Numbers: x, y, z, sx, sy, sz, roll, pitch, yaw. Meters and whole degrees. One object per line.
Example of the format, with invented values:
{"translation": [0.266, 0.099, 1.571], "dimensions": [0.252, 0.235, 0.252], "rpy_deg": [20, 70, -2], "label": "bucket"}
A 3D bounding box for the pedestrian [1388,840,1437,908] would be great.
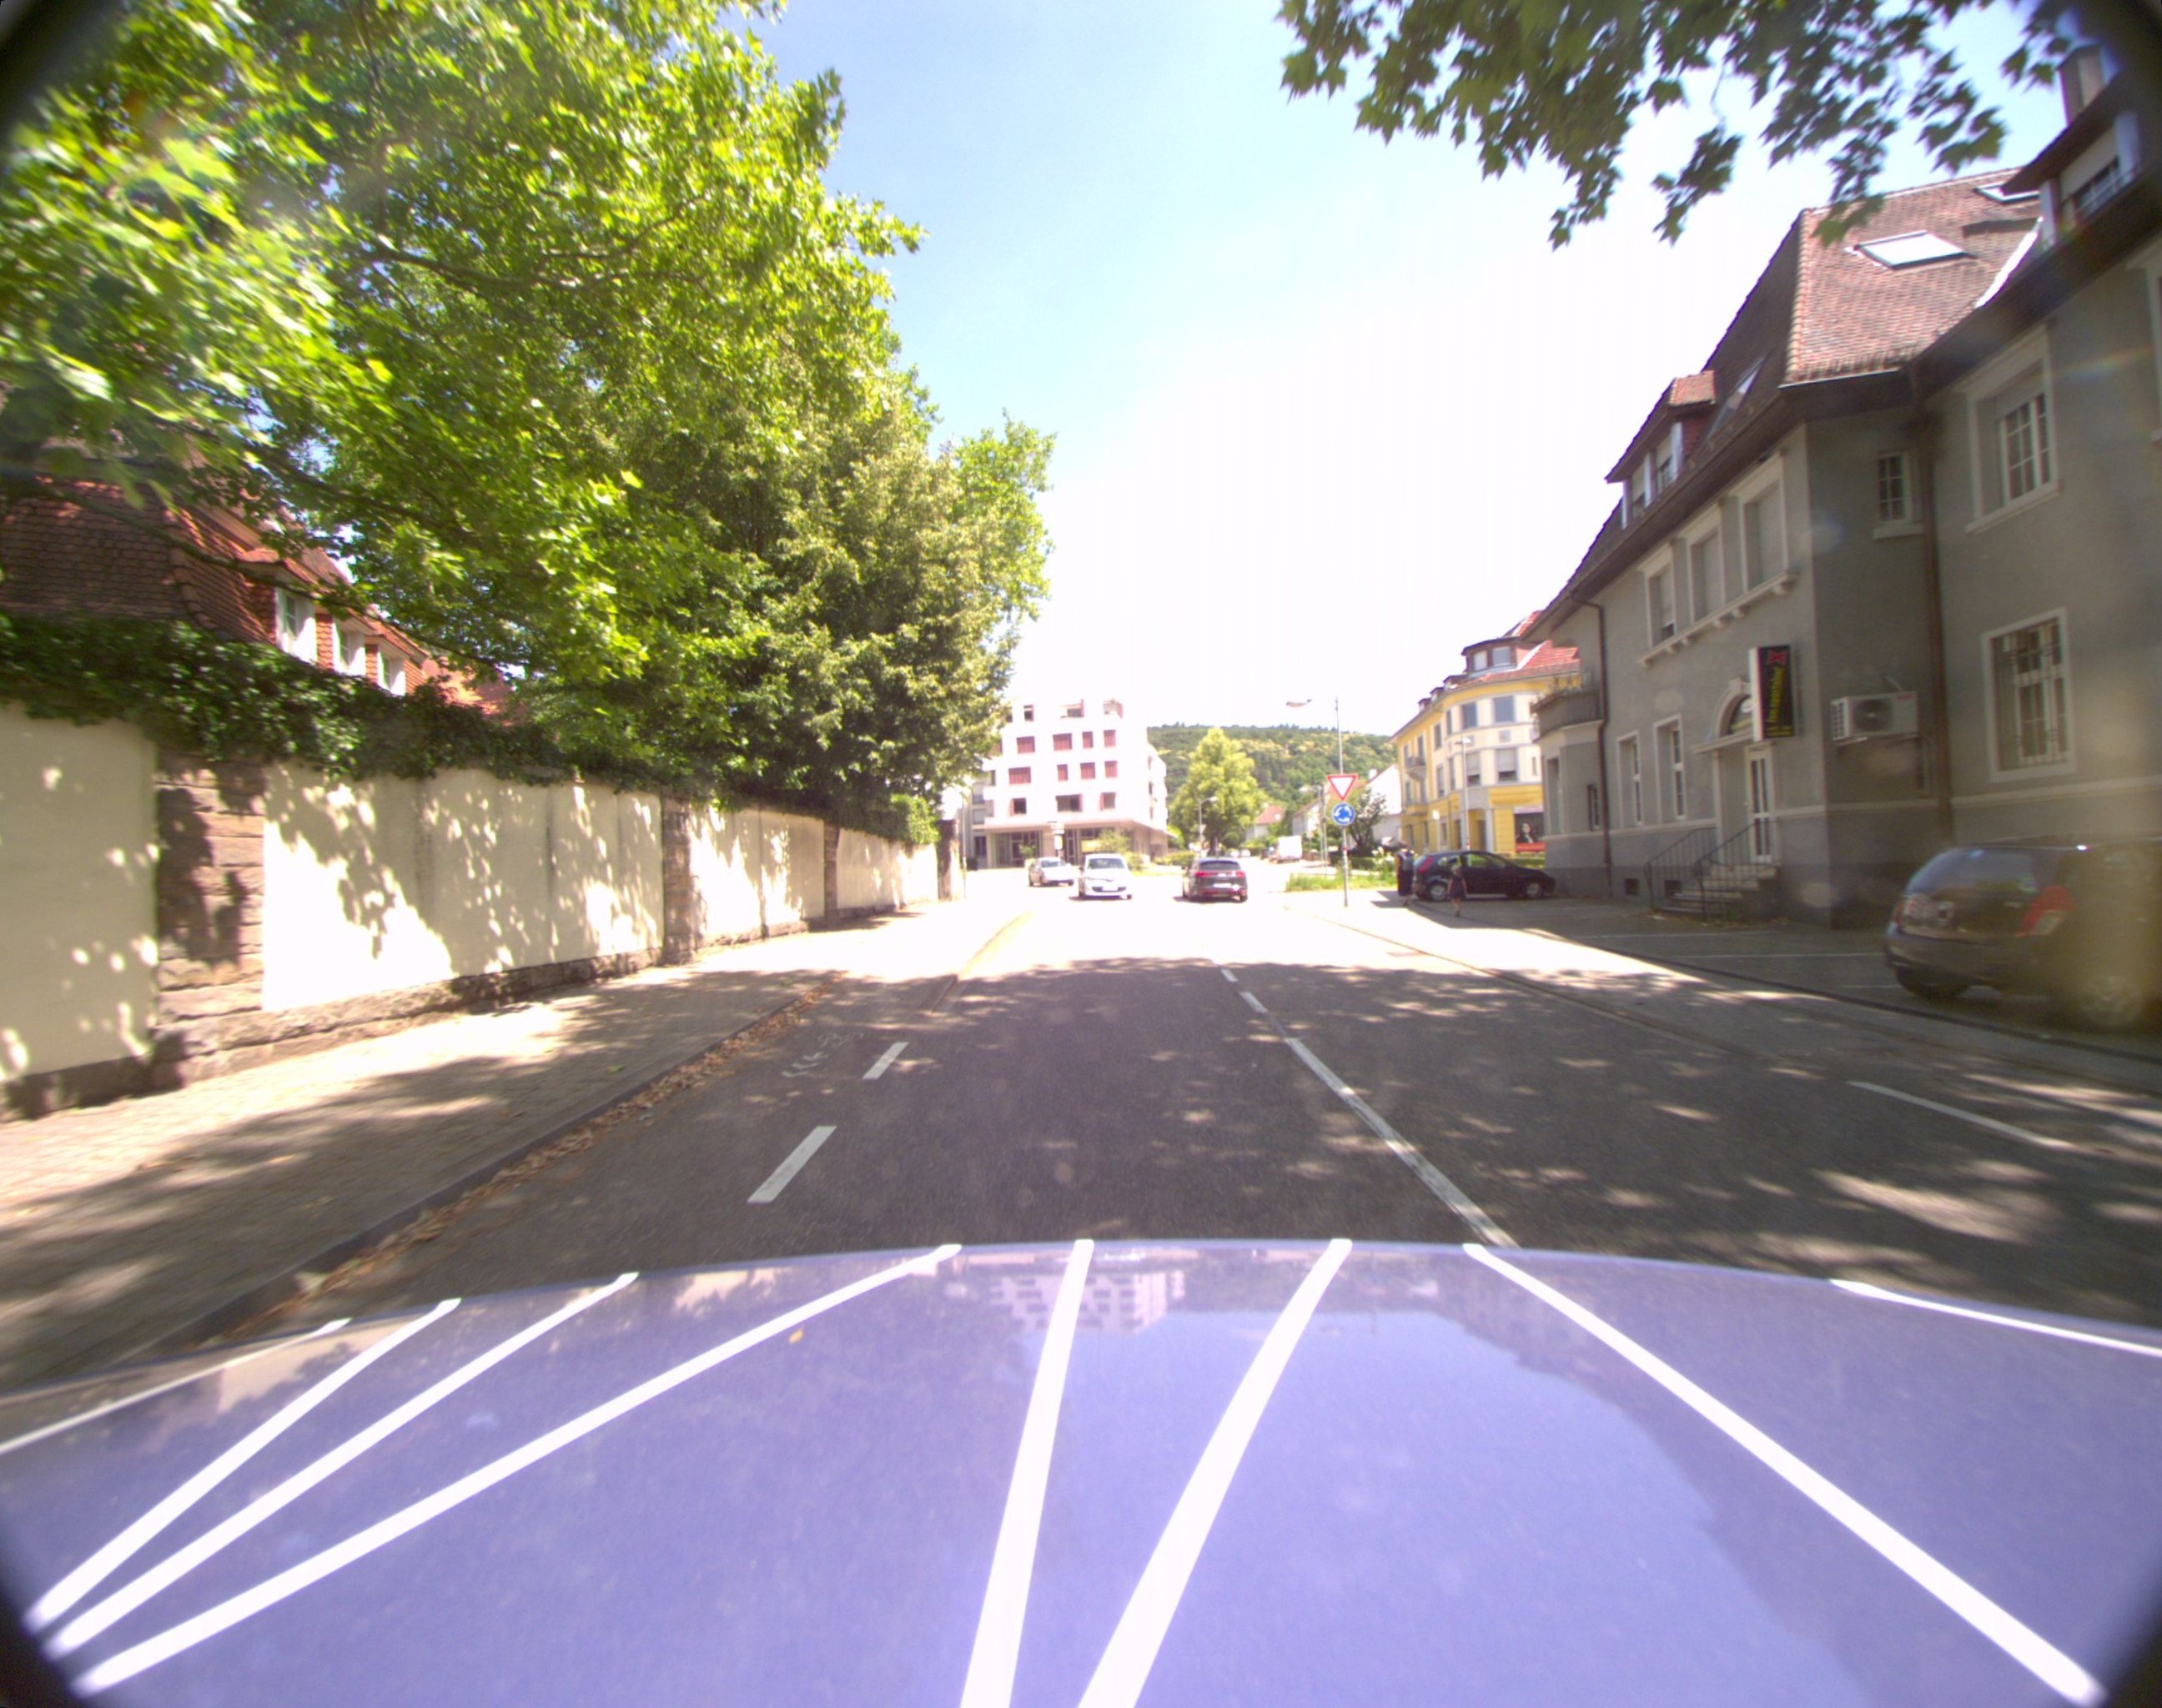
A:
{"translation": [8.742, 0.517, 20.092], "dimensions": [0.873, 1.732, 1.113], "rpy_deg": [-1, 1, 6], "label": "pedestrian"}

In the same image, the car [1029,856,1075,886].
{"translation": [-1.548, 0.841, 39.103], "dimensions": [1.609, 1.443, 3.995], "rpy_deg": [-1, 0, -14], "label": "car"}

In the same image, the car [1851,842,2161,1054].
{"translation": [9.027, 0.681, 6.268], "dimensions": [3.387, 1.537, 1.725], "rpy_deg": [-1, 0, 10], "label": "car"}

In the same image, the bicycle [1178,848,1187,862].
{"translation": [10.015, 0.101, 75.073], "dimensions": [0.569, 1.370, 1.750], "rpy_deg": [-1, 1, 19], "label": "bicycle"}

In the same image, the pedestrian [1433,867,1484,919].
{"translation": [8.488, 0.861, 17.099], "dimensions": [0.755, 1.115, 0.897], "rpy_deg": [-1, 1, 6], "label": "pedestrian"}

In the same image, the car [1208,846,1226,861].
{"translation": [14.069, -0.085, 78.579], "dimensions": [1.754, 1.496, 3.995], "rpy_deg": [-1, 0, 9], "label": "car"}

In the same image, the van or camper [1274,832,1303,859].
{"translation": [22.091, -0.887, 81.139], "dimensions": [2.271, 2.623, 5.890], "rpy_deg": [-4, 0, 10], "label": "van or camper"}

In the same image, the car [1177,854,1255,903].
{"translation": [4.284, 0.733, 24.696], "dimensions": [1.773, 1.418, 4.392], "rpy_deg": [-1, 0, 0], "label": "car"}

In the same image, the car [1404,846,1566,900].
{"translation": [11.553, 0.541, 21.958], "dimensions": [3.787, 1.452, 1.725], "rpy_deg": [-1, 0, 10], "label": "car"}

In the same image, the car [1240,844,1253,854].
{"translation": [29.455, -0.980, 135.570], "dimensions": [1.997, 1.657, 4.002], "rpy_deg": [-1, 1, 8], "label": "car"}

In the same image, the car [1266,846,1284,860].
{"translation": [23.178, -0.119, 90.930], "dimensions": [1.753, 1.496, 3.996], "rpy_deg": [-1, 0, 11], "label": "car"}

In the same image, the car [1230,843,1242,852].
{"translation": [29.994, -1.218, 146.986], "dimensions": [1.997, 1.657, 4.002], "rpy_deg": [-1, 1, 8], "label": "car"}

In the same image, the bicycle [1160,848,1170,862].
{"translation": [8.379, 0.074, 75.559], "dimensions": [0.569, 1.370, 1.750], "rpy_deg": [-1, 1, 19], "label": "bicycle"}

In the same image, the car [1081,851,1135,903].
{"translation": [0.863, 0.728, 26.242], "dimensions": [1.659, 1.516, 4.161], "rpy_deg": [-2, 1, 0], "label": "car"}

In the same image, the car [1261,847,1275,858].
{"translation": [26.022, -0.197, 105.743], "dimensions": [1.753, 1.496, 3.996], "rpy_deg": [-1, 0, 11], "label": "car"}

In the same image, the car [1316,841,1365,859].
{"translation": [24.359, -0.365, 71.424], "dimensions": [3.990, 1.576, 1.756], "rpy_deg": [-1, 0, -3], "label": "car"}

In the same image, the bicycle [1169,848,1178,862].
{"translation": [9.189, 0.131, 75.359], "dimensions": [0.569, 1.370, 1.750], "rpy_deg": [-1, 1, 19], "label": "bicycle"}

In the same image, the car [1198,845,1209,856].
{"translation": [21.512, -0.617, 133.089], "dimensions": [1.764, 1.740, 4.003], "rpy_deg": [-1, 0, 11], "label": "car"}
